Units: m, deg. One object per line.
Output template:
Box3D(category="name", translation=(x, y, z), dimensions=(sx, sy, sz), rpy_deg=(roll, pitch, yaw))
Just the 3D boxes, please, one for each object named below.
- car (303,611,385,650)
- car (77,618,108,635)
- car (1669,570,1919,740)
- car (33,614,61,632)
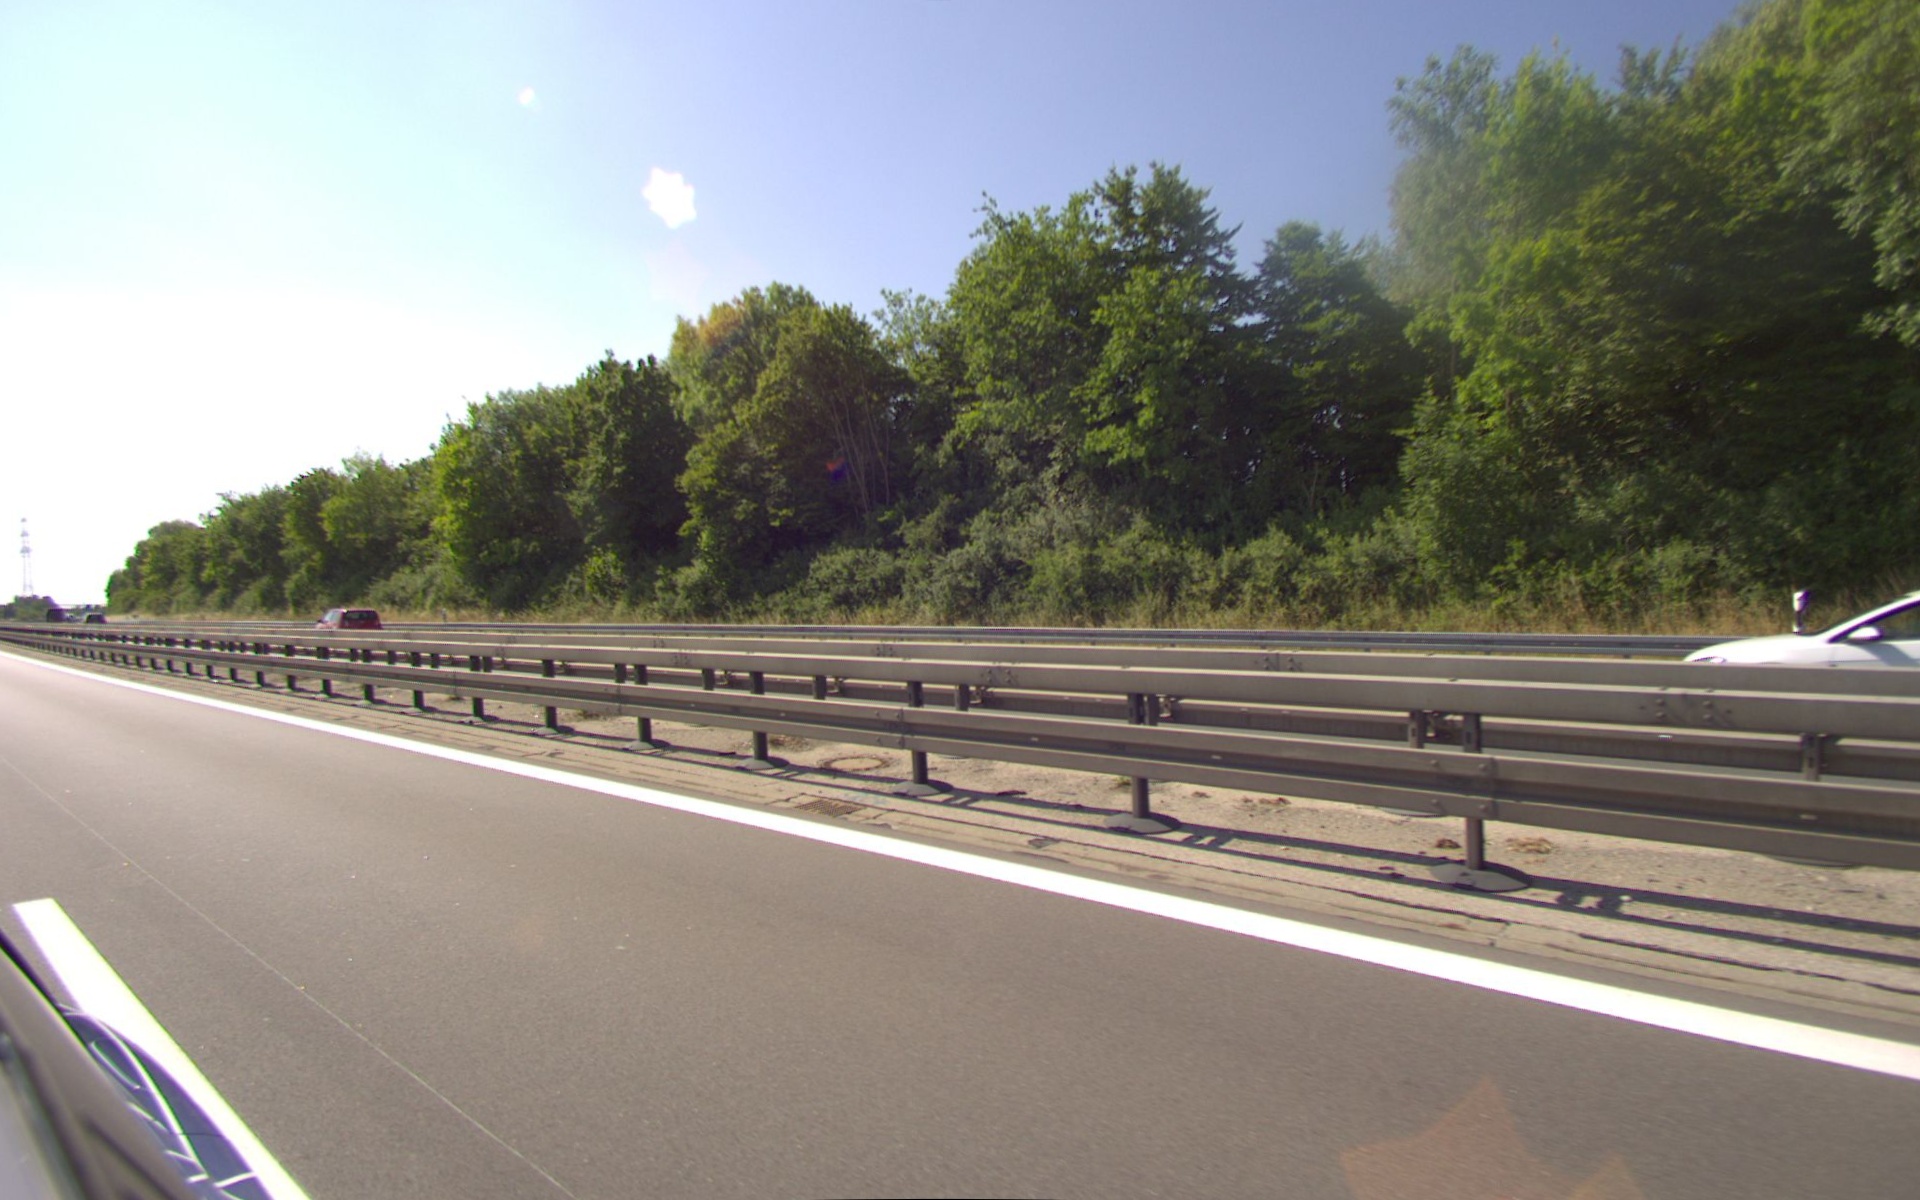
Box3D(category="car", translation=(-24.580, 1.190, 40.325), dimensions=(4.140, 1.448, 1.655), rpy_deg=(-1, 0, 42))
Box3D(category="car", translation=(-86.316, 2.656, 100.697), dimensions=(4.849, 1.567, 1.791), rpy_deg=(-1, 0, 43))
Box3D(category="car", translation=(9.459, 0.453, 9.026), dimensions=(4.975, 1.494, 1.668), rpy_deg=(-1, 0, 41))
Box3D(category="car", translation=(-134.216, 3.375, 148.739), dimensions=(6.595, 2.614, 2.516), rpy_deg=(-2, 0, 44))
